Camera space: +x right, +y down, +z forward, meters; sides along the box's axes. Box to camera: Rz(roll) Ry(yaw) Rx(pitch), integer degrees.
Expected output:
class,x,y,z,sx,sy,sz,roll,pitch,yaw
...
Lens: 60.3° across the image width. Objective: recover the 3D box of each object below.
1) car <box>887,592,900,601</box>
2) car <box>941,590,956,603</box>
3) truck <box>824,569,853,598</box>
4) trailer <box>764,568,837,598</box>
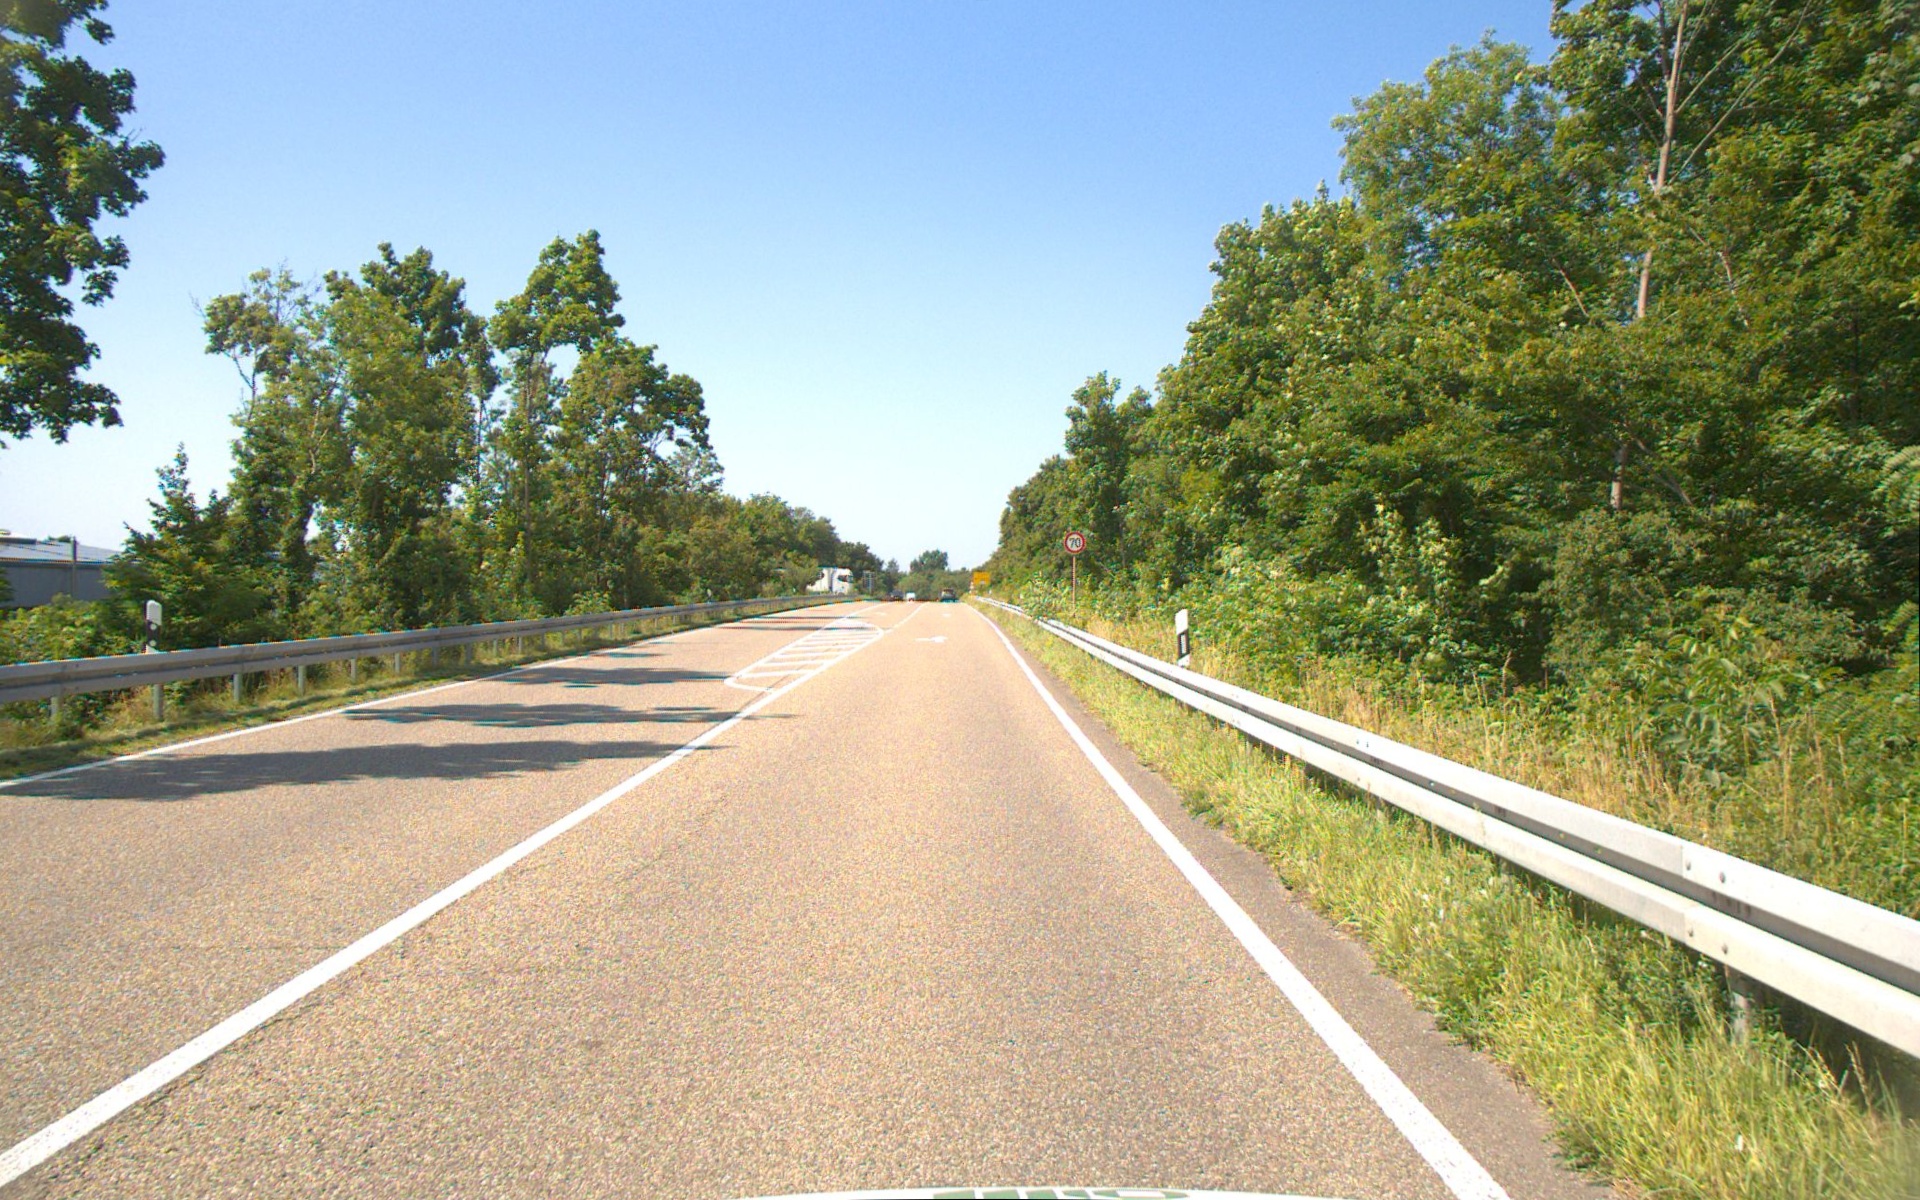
class,x,y,z,sx,sy,sz,roll,pitch,yaw
car,-9.439,-0.540,235.094,1.695,1.289,3.904,1,0,-1
car,-1.368,-0.428,189.969,1.705,1.496,3.692,1,0,-1
truck,-15.271,-2.118,208.428,3.394,3.599,2.000,1,0,1
trailer,-20.116,-2.176,208.512,8.914,3.641,2.000,1,0,1
